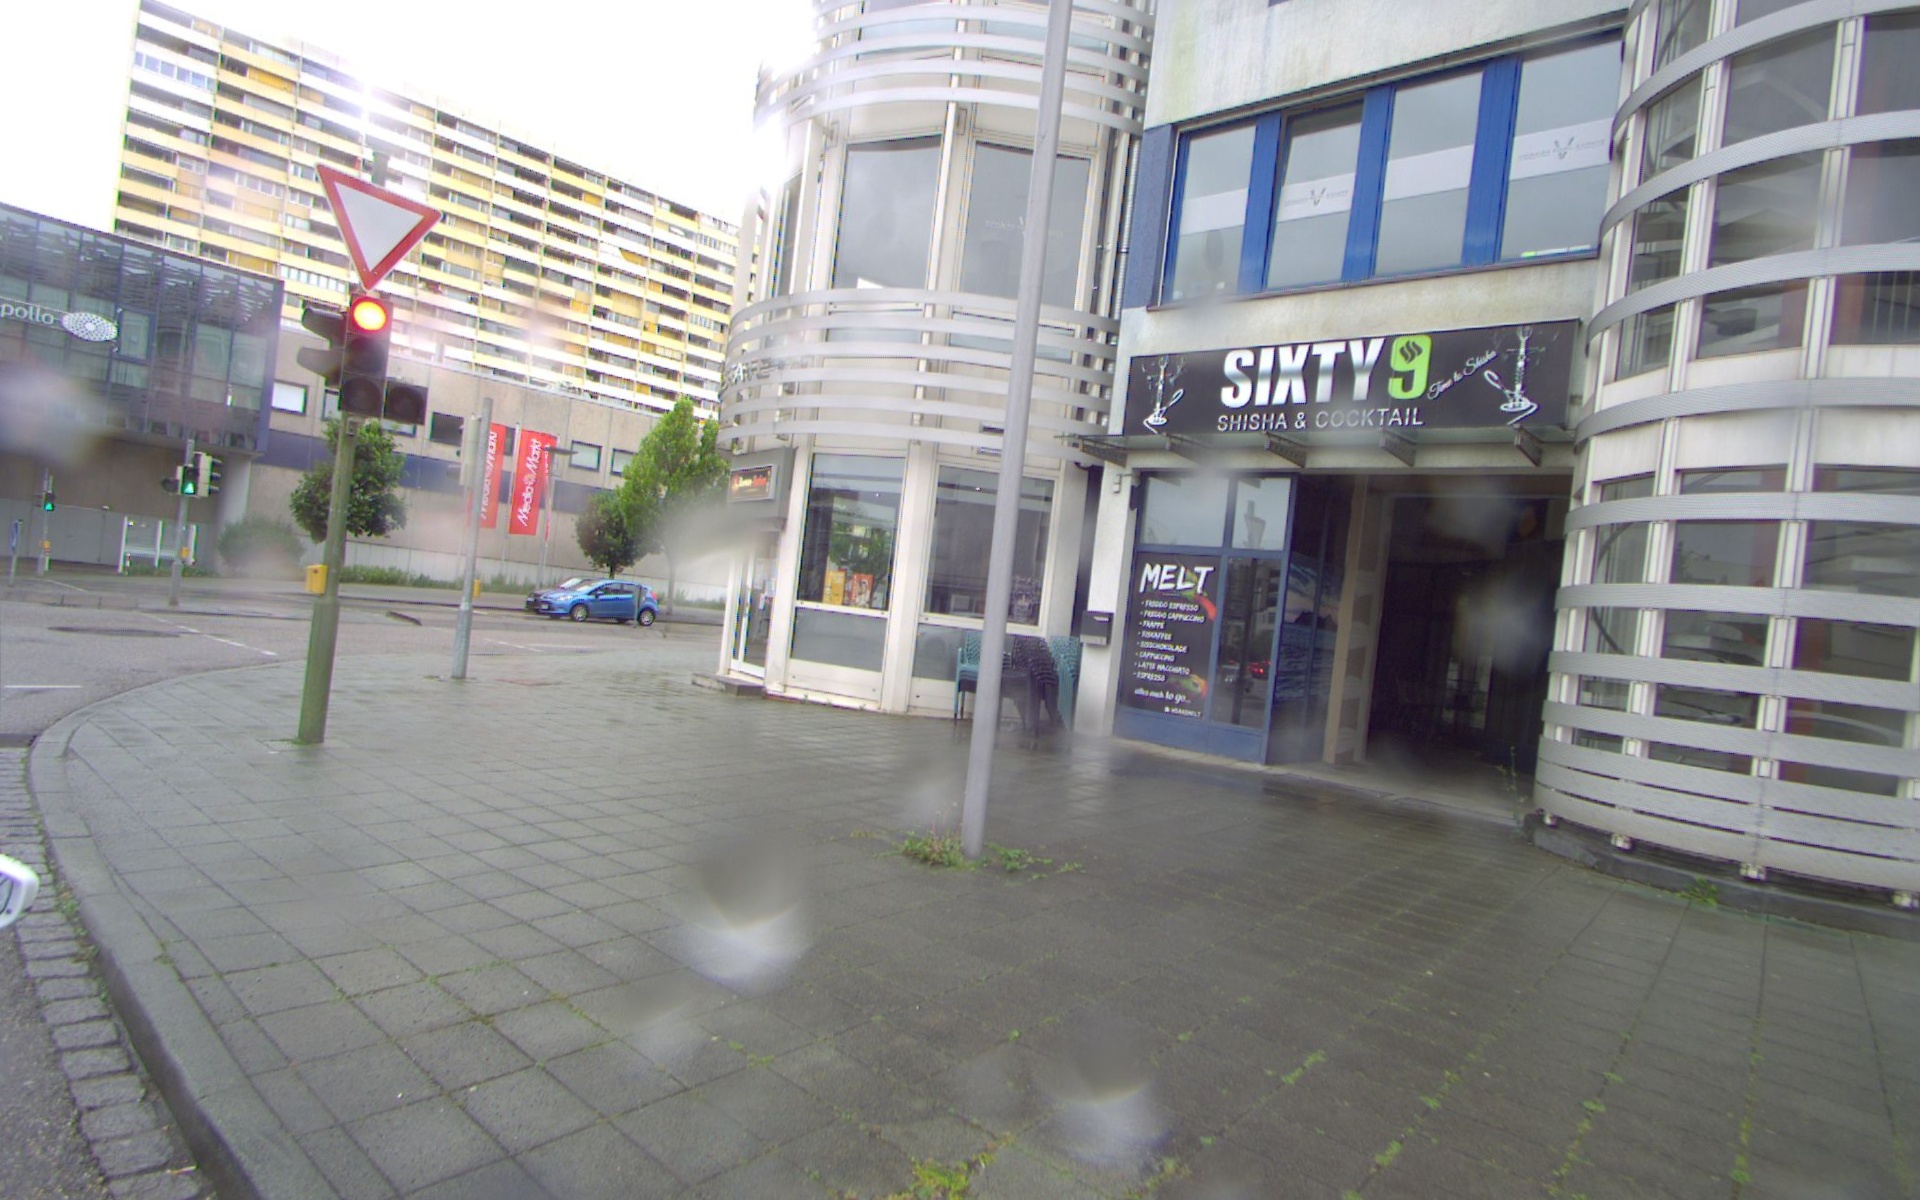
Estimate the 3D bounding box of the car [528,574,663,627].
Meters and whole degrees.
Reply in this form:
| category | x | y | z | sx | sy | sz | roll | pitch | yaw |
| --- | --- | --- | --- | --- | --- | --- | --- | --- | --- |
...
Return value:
| category | x | y | z | sx | sy | sz | roll | pitch | yaw |
| --- | --- | --- | --- | --- | --- | --- | --- | --- | --- |
| car | -12.058 | 0.043 | 33.440 | 1.655 | 1.415 | 3.837 | 5 | 0 | 40 |

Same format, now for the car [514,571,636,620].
| category | x | y | z | sx | sy | sz | roll | pitch | yaw |
| --- | --- | --- | --- | --- | --- | --- | --- | --- | --- |
| car | -13.759 | -0.153 | 36.073 | 1.720 | 1.412 | 3.677 | 5 | 0 | 41 |
